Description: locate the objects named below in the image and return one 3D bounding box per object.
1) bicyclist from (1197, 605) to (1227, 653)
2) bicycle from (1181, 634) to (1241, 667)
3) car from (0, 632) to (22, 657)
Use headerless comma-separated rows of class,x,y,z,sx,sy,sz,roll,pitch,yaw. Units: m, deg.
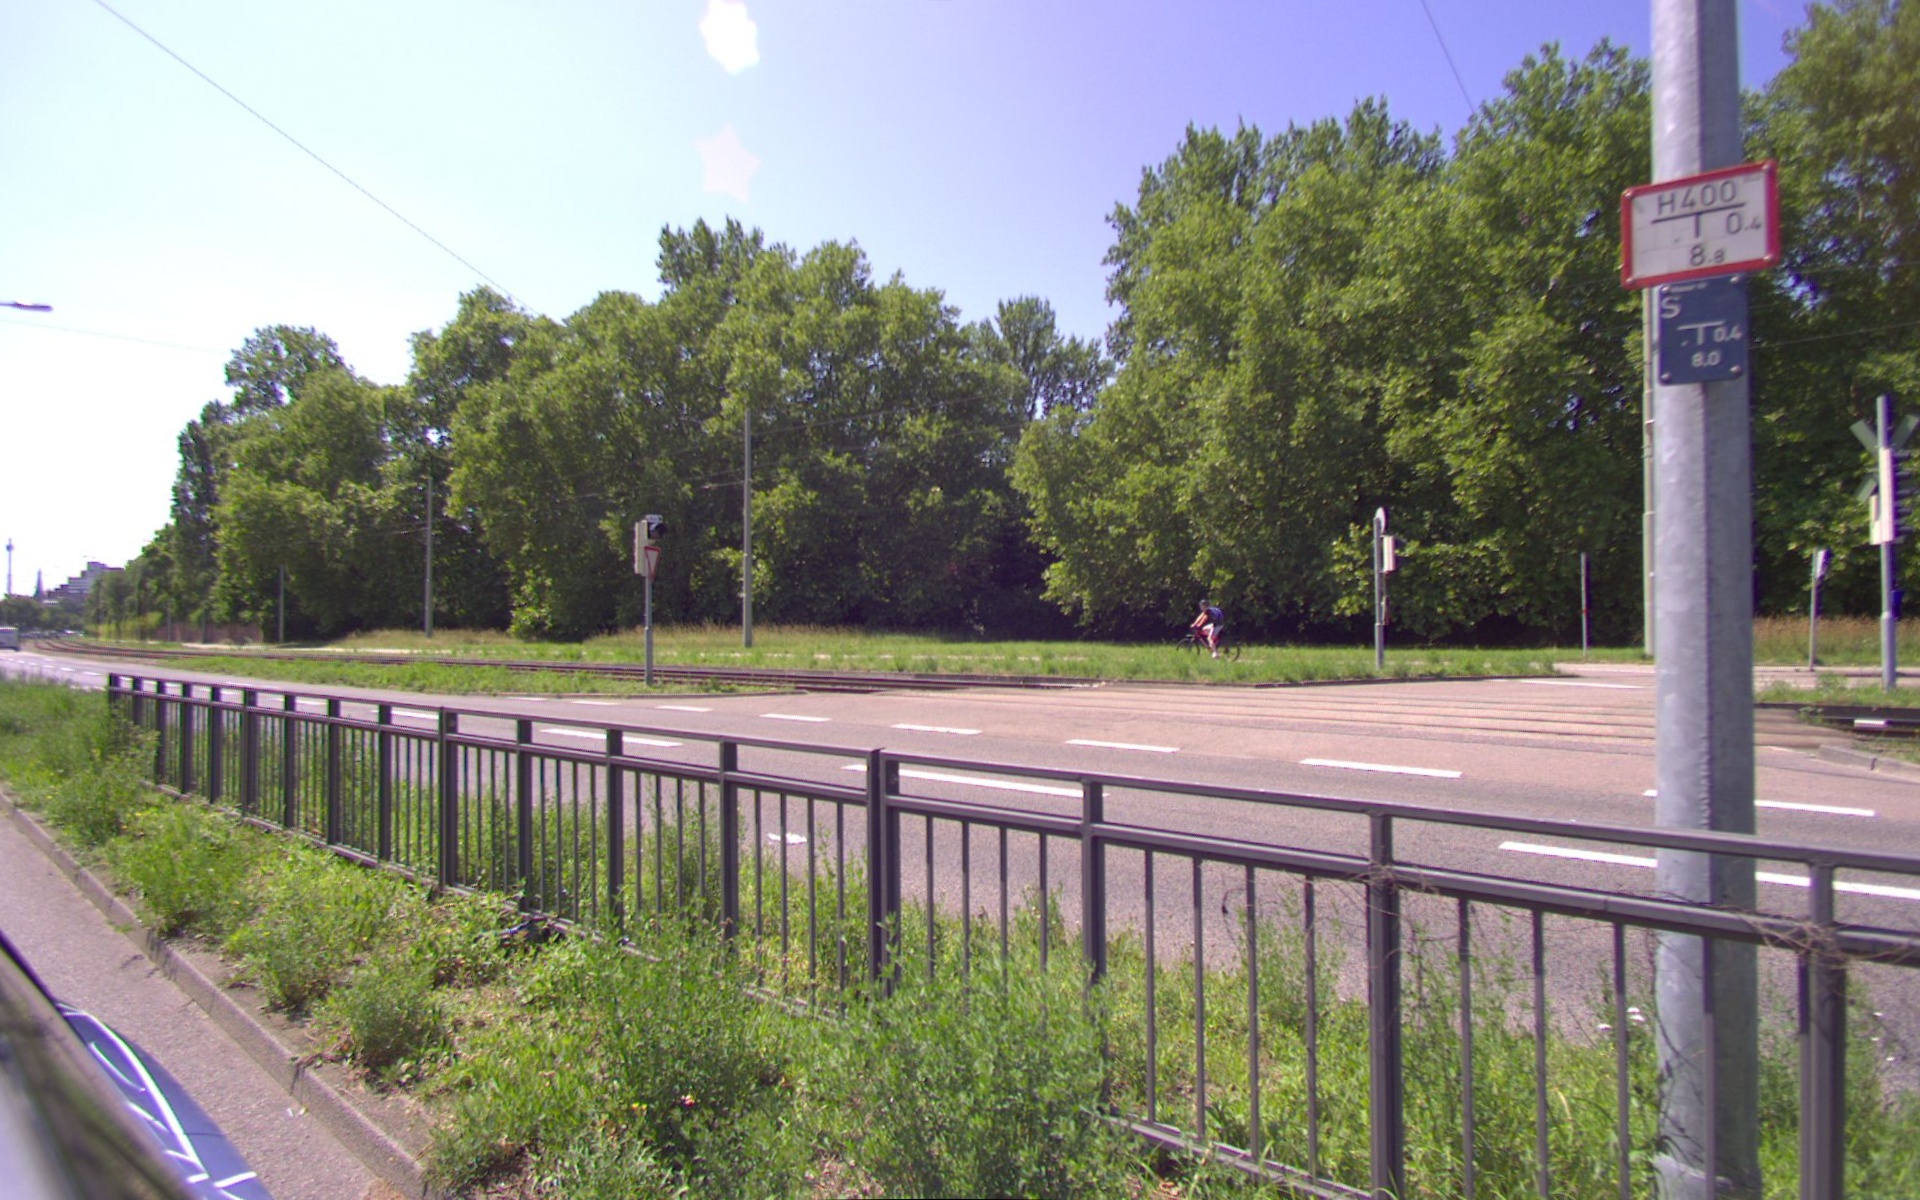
bicyclist,7.116,0.809,28.618,0.678,1.346,0.504,-2,-1,34
bicycle,7.089,1.411,28.653,1.561,0.908,0.503,-2,-1,34
car,-79.544,3.727,83.930,5.027,2.029,1.973,-2,-4,41
